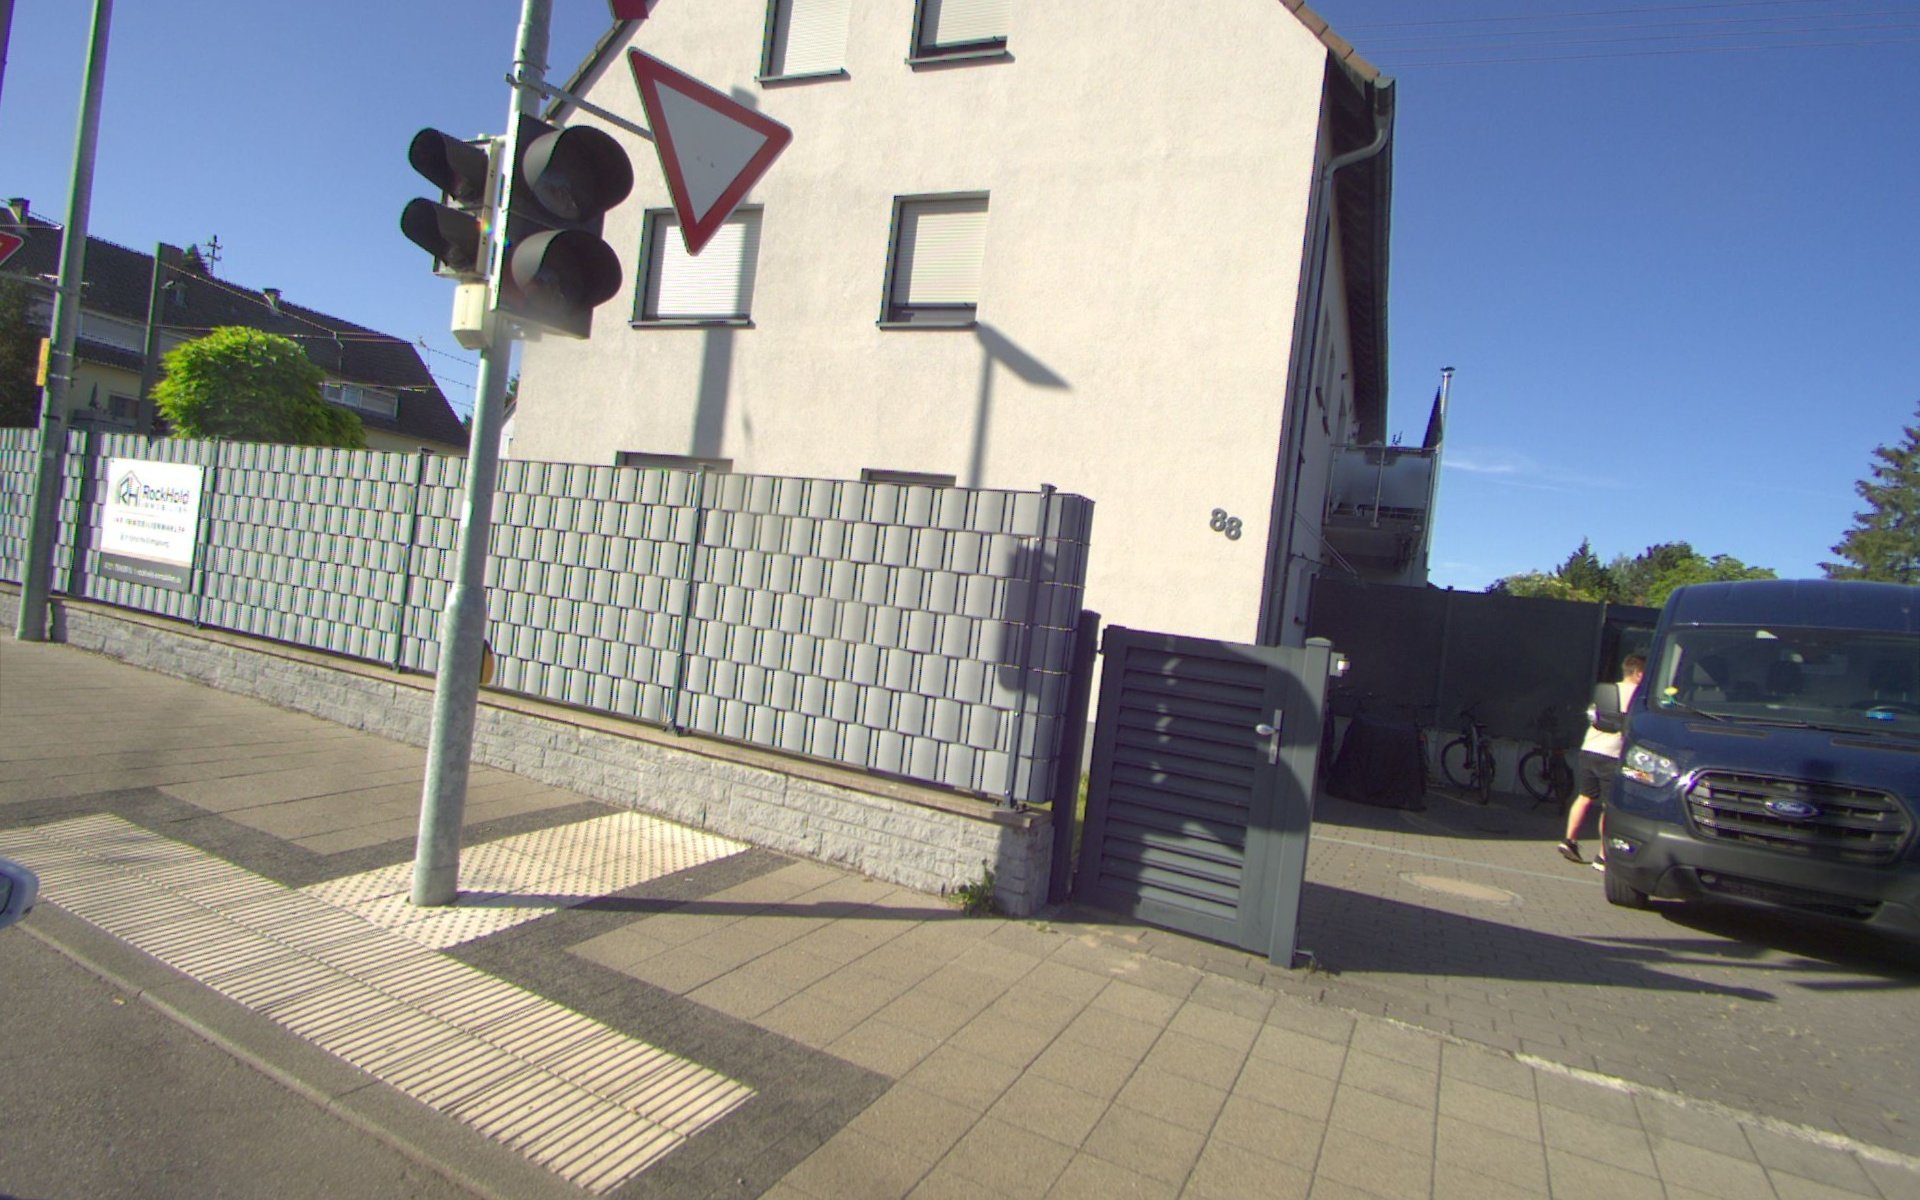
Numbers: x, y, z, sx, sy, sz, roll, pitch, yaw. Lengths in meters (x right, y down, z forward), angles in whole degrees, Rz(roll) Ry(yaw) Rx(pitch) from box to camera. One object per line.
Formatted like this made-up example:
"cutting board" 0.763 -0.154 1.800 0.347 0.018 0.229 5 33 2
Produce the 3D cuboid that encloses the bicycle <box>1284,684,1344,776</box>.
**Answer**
"bicycle" 4.738 1.700 13.401 0.533 1.073 1.817 7 -2 23

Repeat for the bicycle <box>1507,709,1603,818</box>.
"bicycle" 7.200 1.942 12.248 0.533 1.109 1.818 7 -2 19

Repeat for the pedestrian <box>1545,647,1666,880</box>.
"pedestrian" 5.471 1.355 8.526 0.667 1.836 0.552 3 -4 45

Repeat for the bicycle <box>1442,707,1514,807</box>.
"bicycle" 6.452 1.921 12.590 0.426 1.073 1.818 7 -2 19

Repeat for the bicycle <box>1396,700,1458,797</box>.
"bicycle" 5.919 1.848 12.807 0.405 1.073 1.818 7 -2 19

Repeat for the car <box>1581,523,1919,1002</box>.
"car" 6.291 1.043 7.396 1.973 2.460 4.969 5 -2 41
